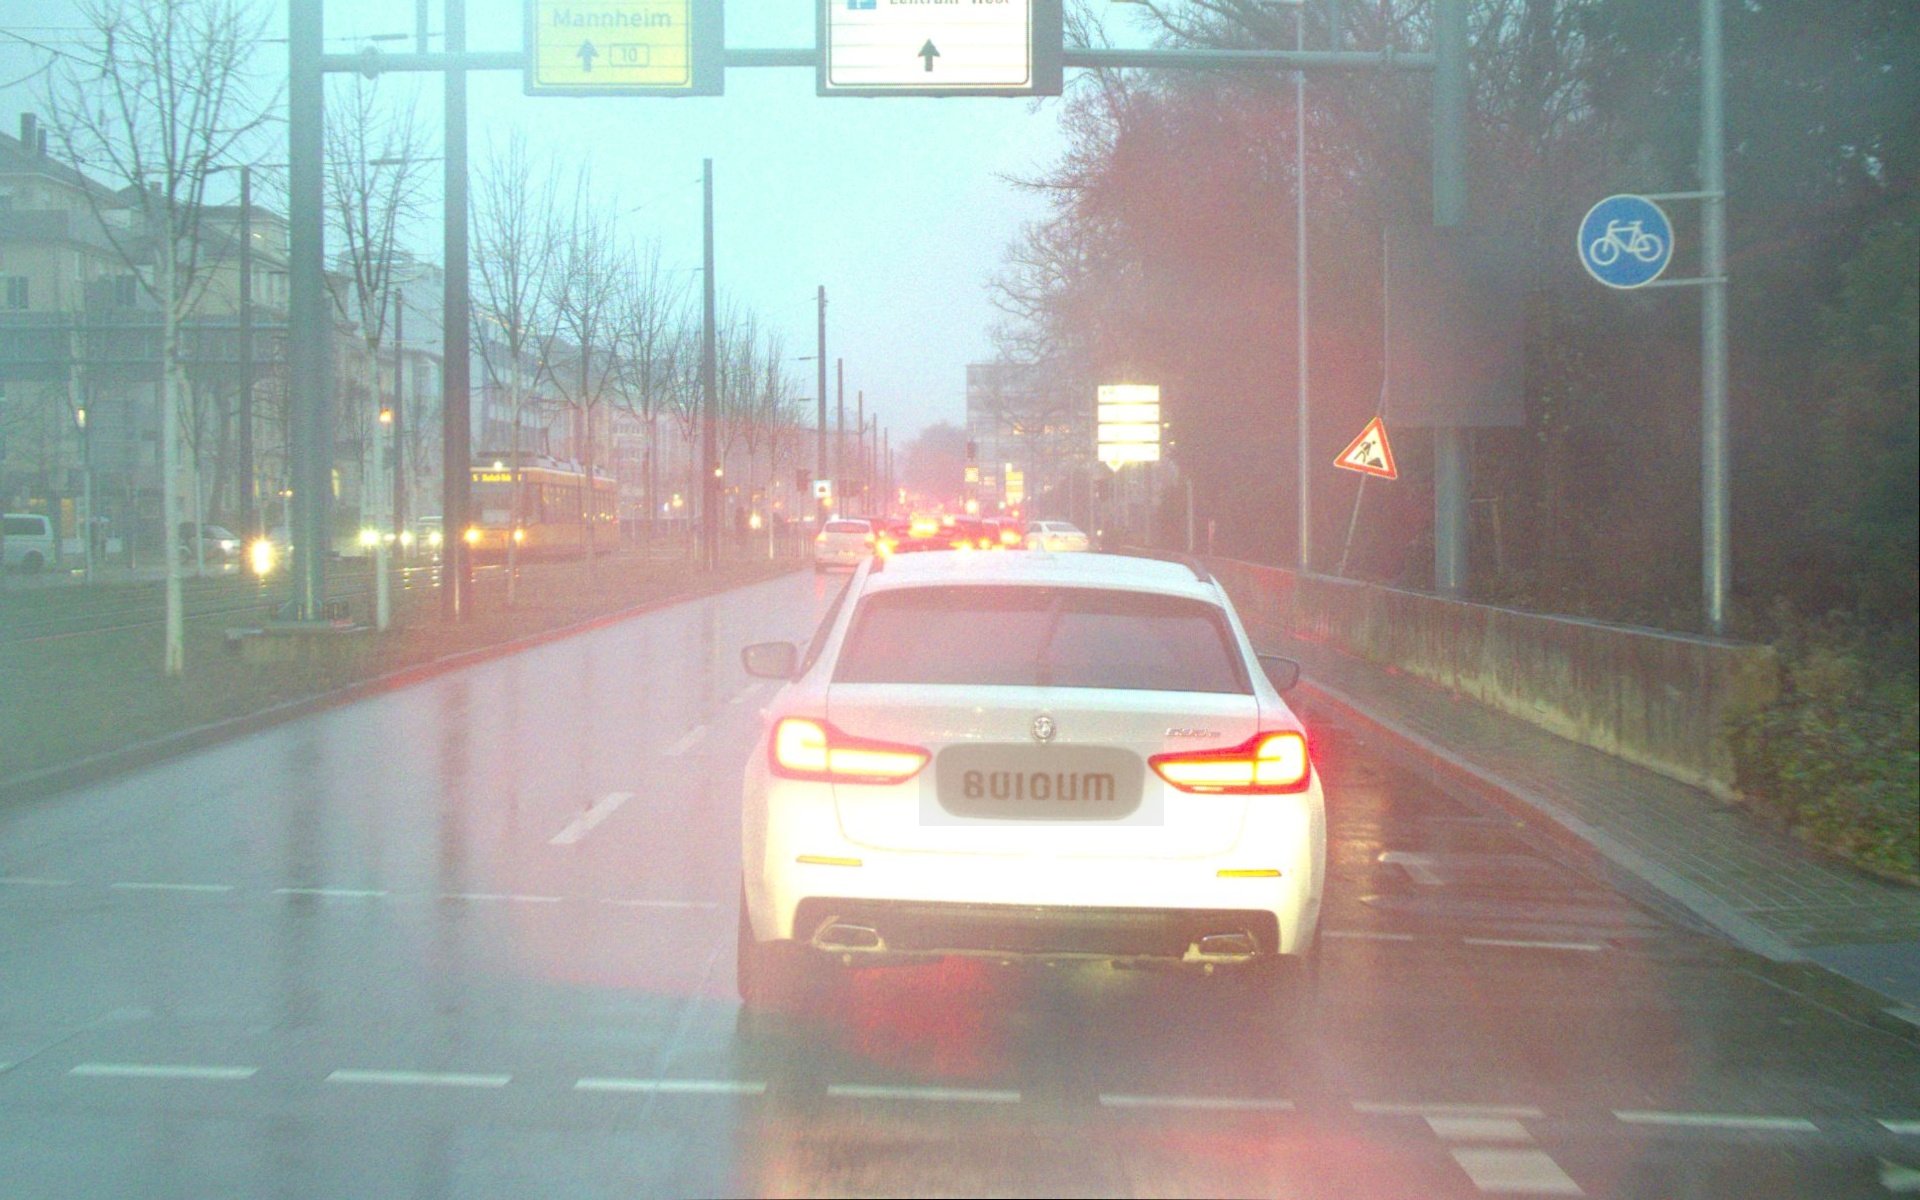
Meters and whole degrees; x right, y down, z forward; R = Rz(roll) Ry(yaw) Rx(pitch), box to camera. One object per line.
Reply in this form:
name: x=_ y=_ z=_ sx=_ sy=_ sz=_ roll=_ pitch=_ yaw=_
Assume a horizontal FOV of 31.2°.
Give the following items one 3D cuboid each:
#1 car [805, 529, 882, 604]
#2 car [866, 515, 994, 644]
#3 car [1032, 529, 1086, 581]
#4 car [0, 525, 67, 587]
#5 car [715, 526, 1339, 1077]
car: x=-3.240 y=-0.962 z=95.947 sx=1.993 sy=2.007 sz=4.000 roll=1 pitch=1 yaw=0
car: x=-0.489 y=-0.365 z=56.493 sx=1.993 sy=2.007 sz=4.000 roll=1 pitch=1 yaw=0
car: x=3.979 y=-1.814 z=138.360 sx=1.993 sy=2.007 sz=4.000 roll=1 pitch=1 yaw=0
car: x=-32.099 y=-1.451 z=113.163 sx=4.870 sy=2.006 sz=1.999 roll=-1 pitch=2 yaw=-41
car: x=0.060 y=0.536 z=11.963 sx=1.759 sy=1.547 sz=4.252 roll=1 pitch=1 yaw=-4
